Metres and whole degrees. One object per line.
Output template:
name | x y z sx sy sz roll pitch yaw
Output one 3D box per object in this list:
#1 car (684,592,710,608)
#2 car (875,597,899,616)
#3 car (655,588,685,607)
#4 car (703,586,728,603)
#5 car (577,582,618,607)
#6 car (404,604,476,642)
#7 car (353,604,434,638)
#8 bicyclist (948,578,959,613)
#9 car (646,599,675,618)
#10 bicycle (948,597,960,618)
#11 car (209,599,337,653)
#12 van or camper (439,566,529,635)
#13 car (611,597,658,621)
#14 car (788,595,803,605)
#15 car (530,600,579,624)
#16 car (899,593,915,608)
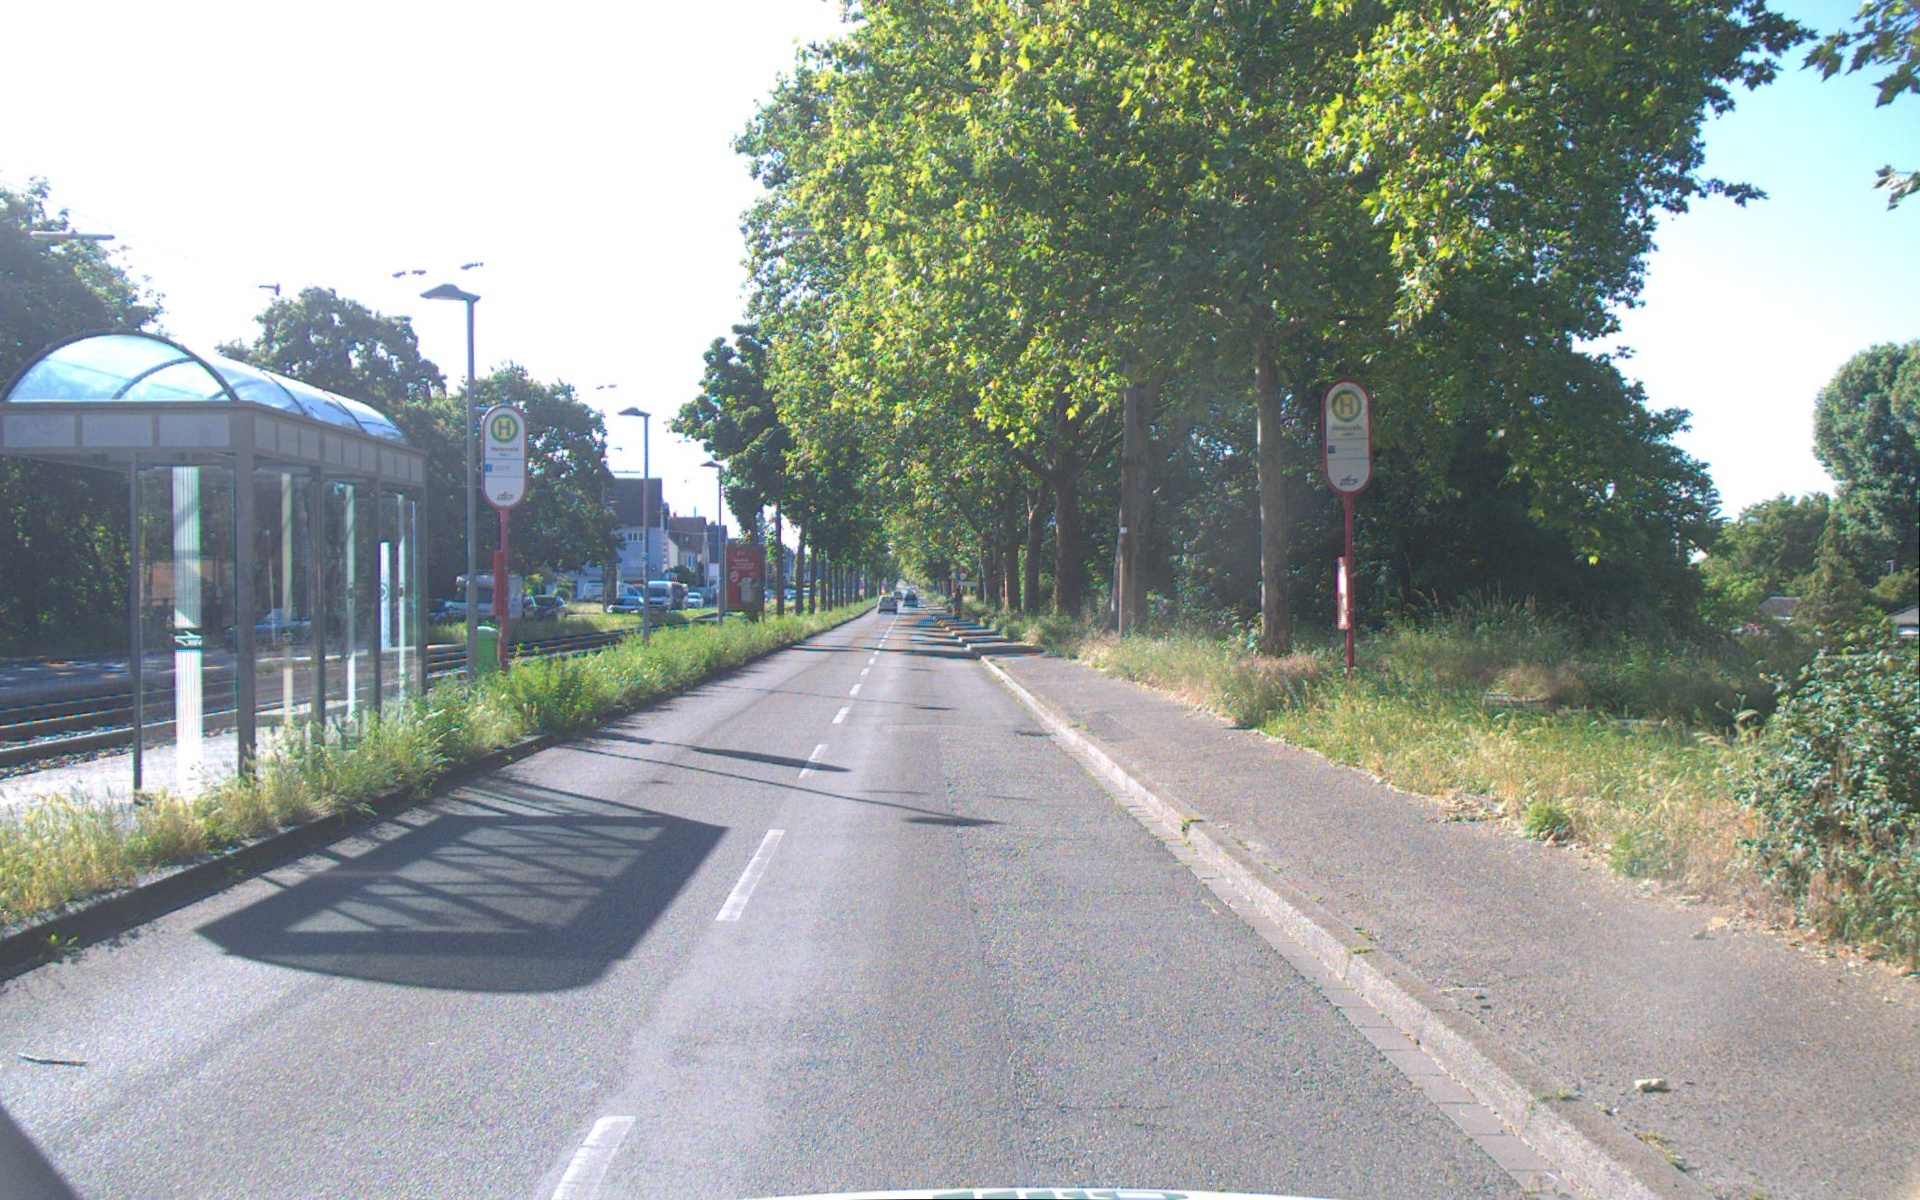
car | -25.131 -0.031 158.027 1.881 1.463 4.000 -1 0 0
car | -5.952 0.508 135.199 1.830 1.512 3.554 0 0 -2
car | -25.281 -0.221 144.188 1.881 1.656 4.000 -1 0 0
car | -25.404 -0.567 171.738 1.952 1.672 4.000 -1 0 1
car | -24.658 -0.380 112.561 1.881 1.604 4.000 -1 0 0
car | -22.904 0.998 73.036 1.881 1.589 4.000 -1 0 0
car | -22.995 0.846 67.255 1.881 1.288 4.000 -1 0 0
bicyclist | -0.329 -0.239 87.617 0.523 1.800 0.712 -1 0 -4
car | -24.629 0.660 136.078 1.708 1.522 3.592 -1 0 0
bicycle | -0.316 0.375 87.577 0.525 1.085 1.432 -1 0 -4
car | -20.029 0.718 48.430 1.953 1.495 4.375 0 0 -1
van or camper | -22.966 0.016 80.073 2.537 3.160 6.786 -1 0 -2
car | -18.530 0.514 94.283 1.881 1.288 4.000 -1 0 0
car | -22.909 0.019 230.721 1.882 1.288 3.998 -1 0 -2
car | -23.008 0.668 93.973 1.882 1.288 3.999 -1 0 -2
car | -5.699 0.021 179.477 1.715 1.632 3.749 0 0 -2
